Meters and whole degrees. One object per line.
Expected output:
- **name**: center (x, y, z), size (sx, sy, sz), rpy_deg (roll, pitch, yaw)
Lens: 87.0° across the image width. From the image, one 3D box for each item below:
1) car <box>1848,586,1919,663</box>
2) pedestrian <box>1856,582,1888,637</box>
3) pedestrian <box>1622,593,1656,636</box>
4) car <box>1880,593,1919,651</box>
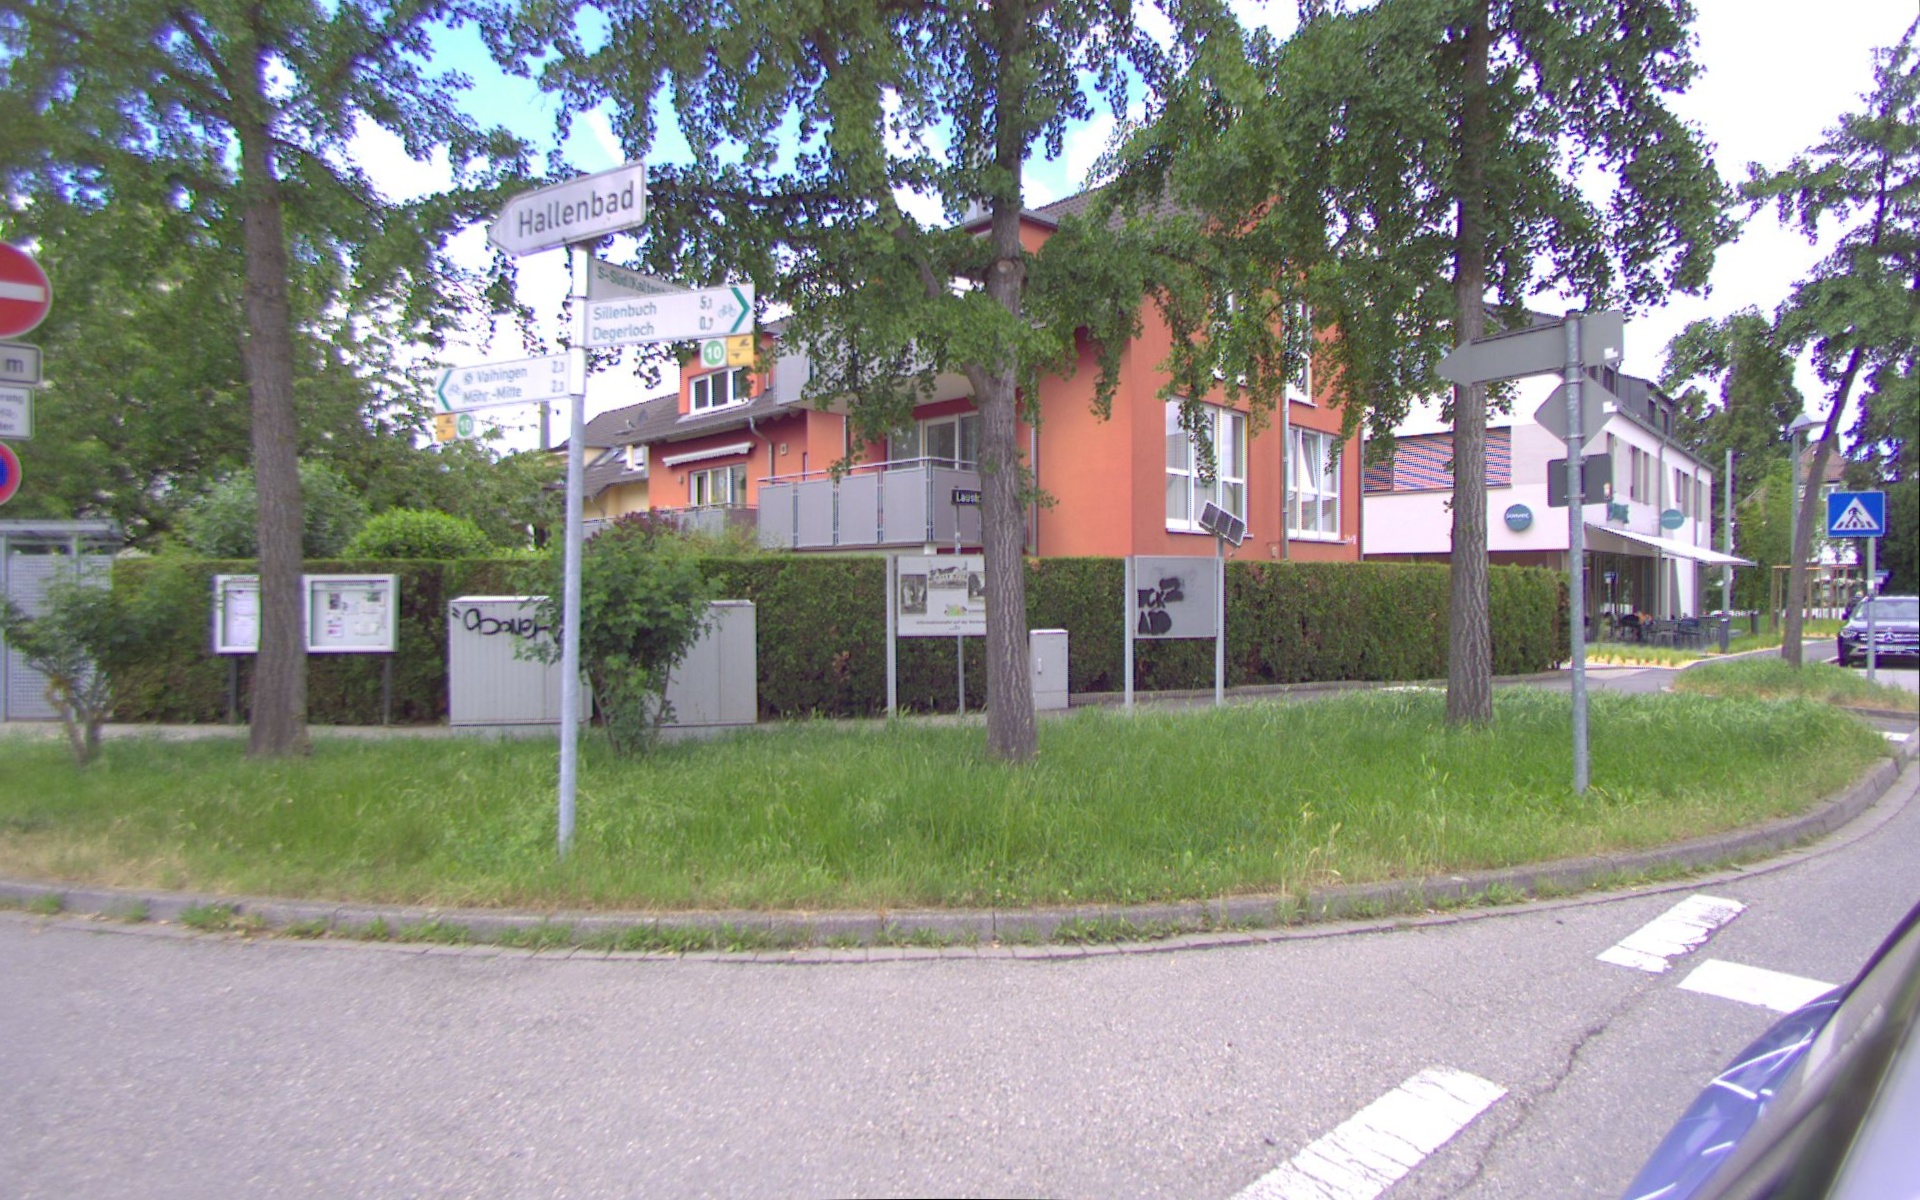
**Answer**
- **car**: center (22.069, 0.500, 23.485), size (4.392, 1.657, 1.848), rpy_deg (-1, 0, -44)
- **pedestrian**: center (28.899, 0.284, 32.065), size (0.648, 1.689, 0.677), rpy_deg (0, 1, -41)
- **pedestrian**: center (20.140, 0.408, 30.008), size (0.750, 1.254, 0.681), rpy_deg (0, 0, 43)
- **car**: center (26.035, 0.542, 27.128), size (3.771, 1.470, 1.708), rpy_deg (-1, 0, -43)
